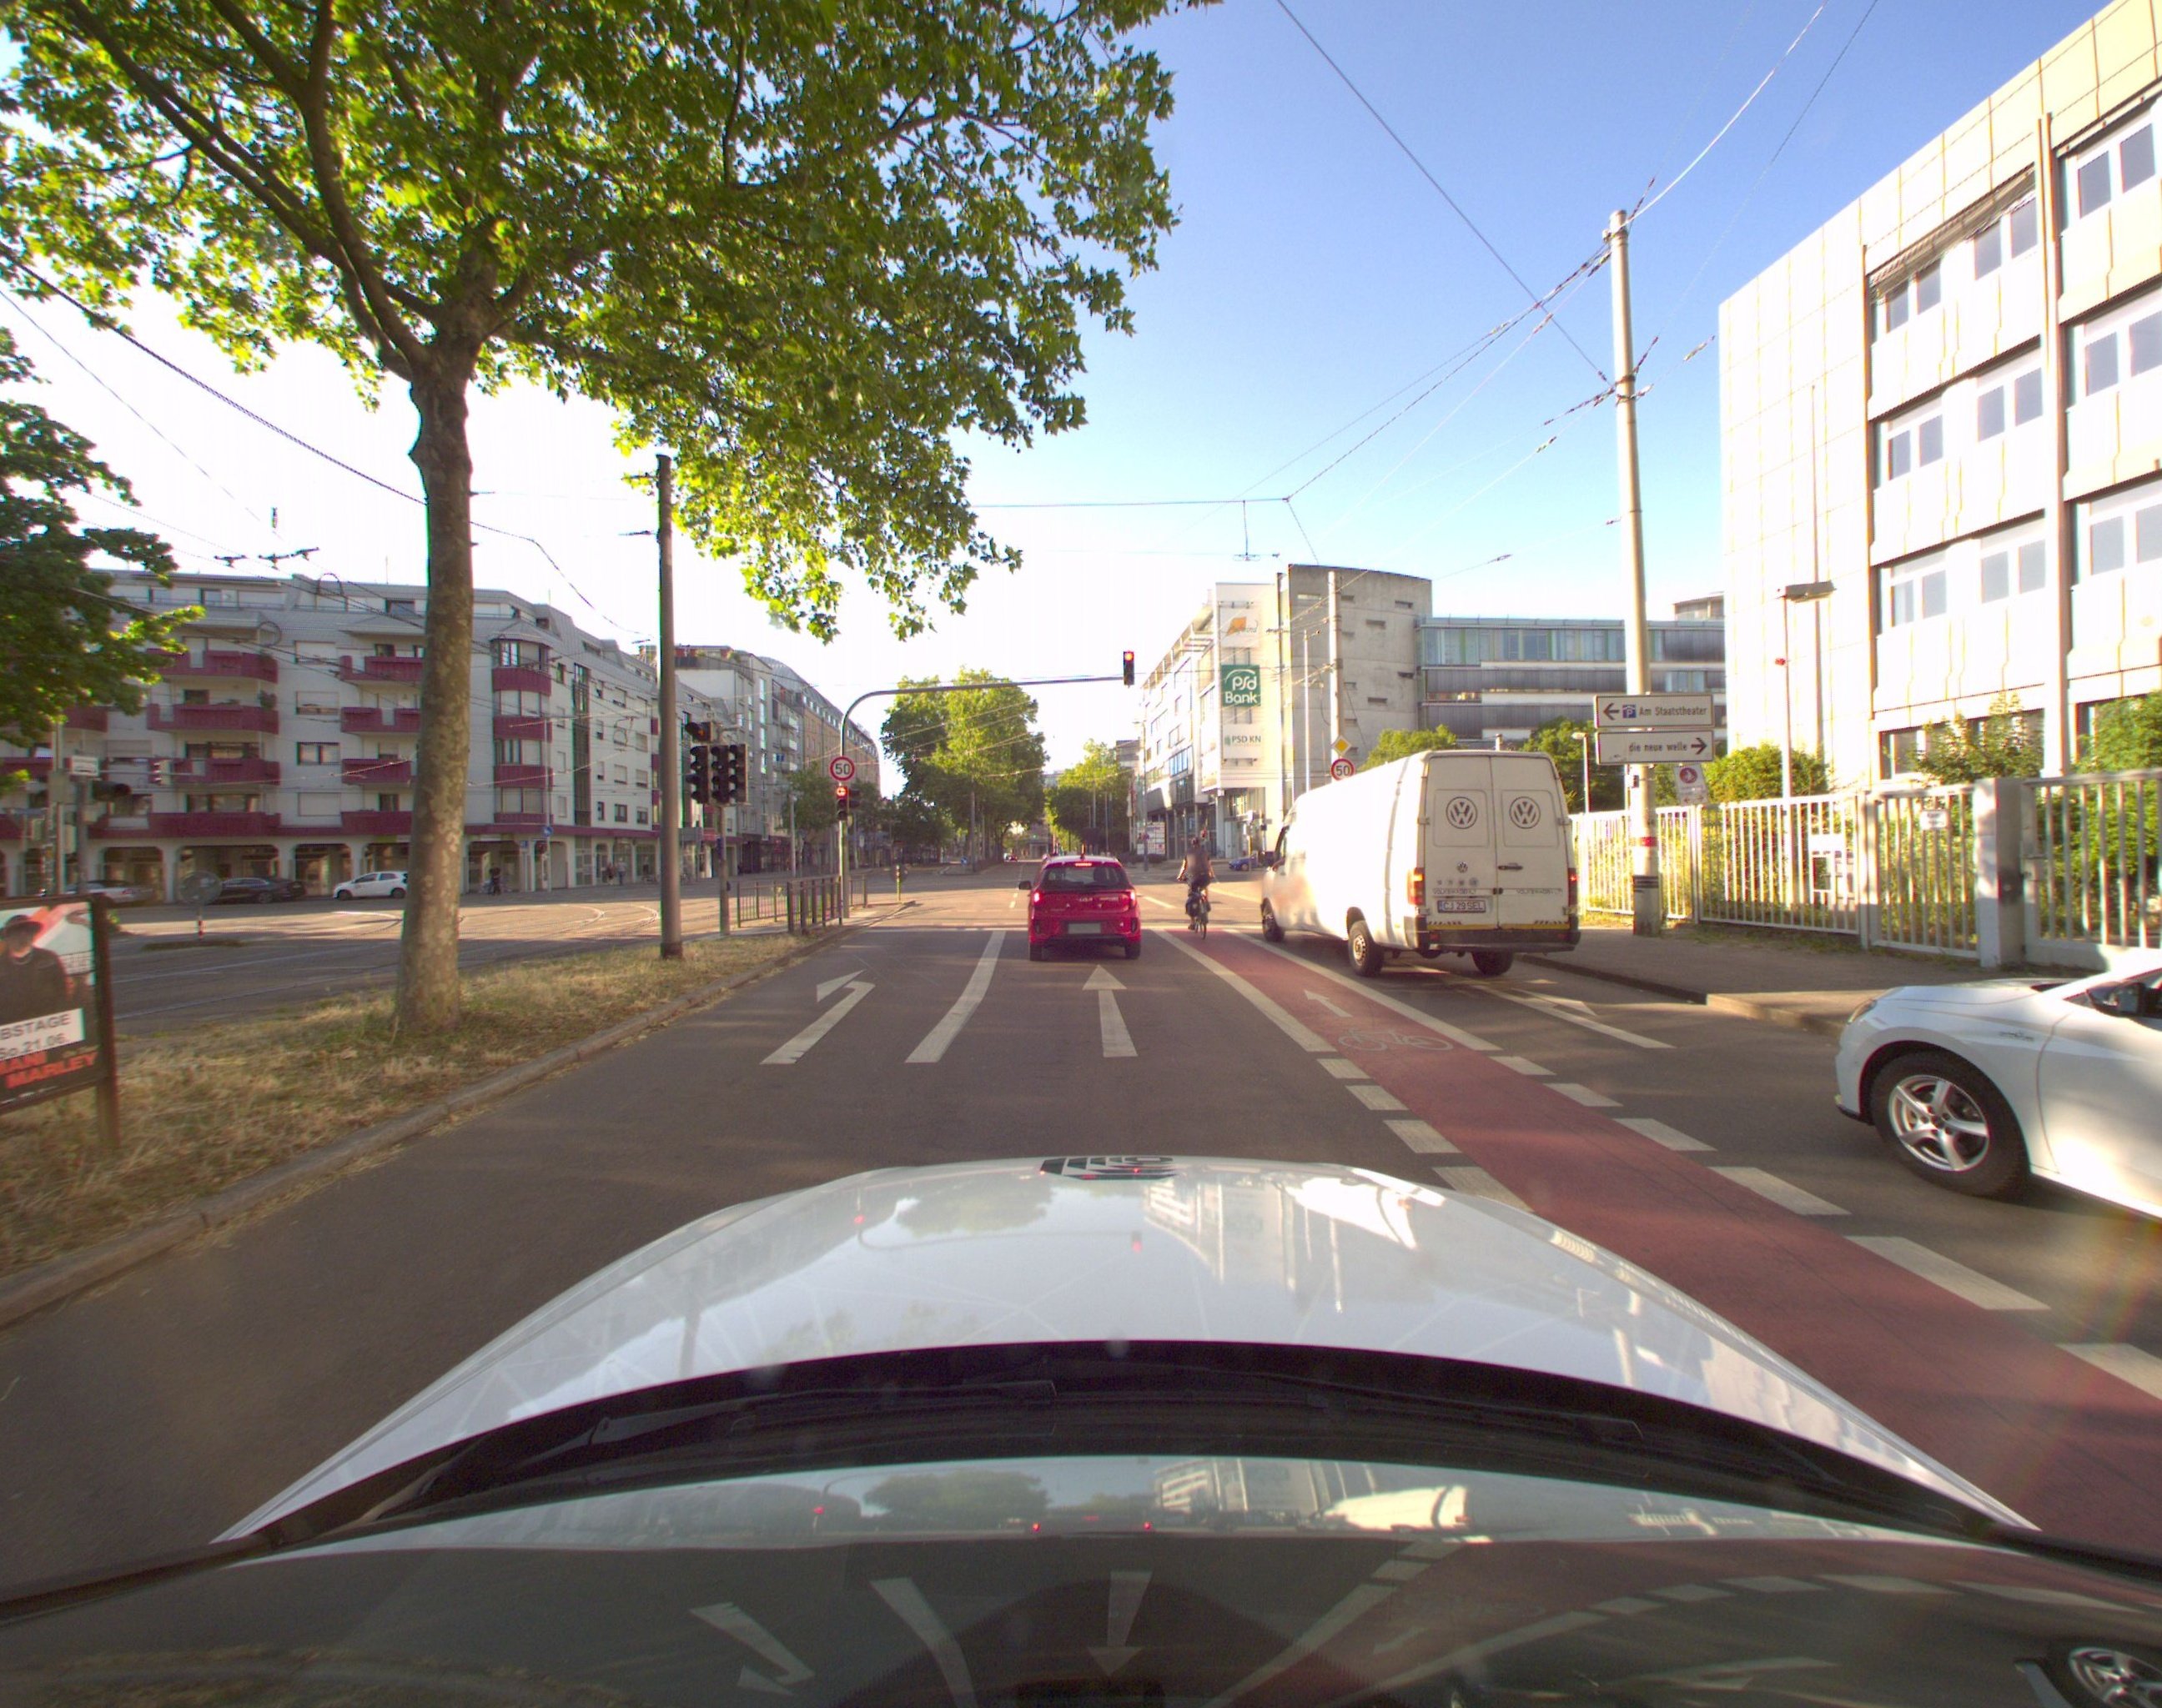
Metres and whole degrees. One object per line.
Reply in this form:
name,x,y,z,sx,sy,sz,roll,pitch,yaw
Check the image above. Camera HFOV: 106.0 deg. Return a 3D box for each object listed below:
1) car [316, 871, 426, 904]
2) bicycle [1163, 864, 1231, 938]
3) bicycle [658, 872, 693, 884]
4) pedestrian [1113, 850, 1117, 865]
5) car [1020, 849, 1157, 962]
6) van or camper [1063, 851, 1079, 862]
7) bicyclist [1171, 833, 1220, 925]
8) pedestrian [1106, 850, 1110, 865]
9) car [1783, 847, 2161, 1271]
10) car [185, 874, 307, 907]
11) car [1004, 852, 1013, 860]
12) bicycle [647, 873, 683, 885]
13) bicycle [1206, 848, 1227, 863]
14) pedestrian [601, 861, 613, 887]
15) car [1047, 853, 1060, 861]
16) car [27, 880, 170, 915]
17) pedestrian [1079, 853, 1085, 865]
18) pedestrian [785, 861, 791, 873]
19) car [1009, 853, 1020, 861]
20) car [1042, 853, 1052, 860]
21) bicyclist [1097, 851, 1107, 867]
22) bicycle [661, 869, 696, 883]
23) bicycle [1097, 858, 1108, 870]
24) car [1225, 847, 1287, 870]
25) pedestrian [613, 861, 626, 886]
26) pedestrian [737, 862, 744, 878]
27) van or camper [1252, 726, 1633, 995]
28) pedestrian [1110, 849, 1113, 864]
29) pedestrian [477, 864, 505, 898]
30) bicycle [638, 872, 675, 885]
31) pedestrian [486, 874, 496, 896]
car,-38.076,1.769,43.797,3.996,1.464,1.792,-2,0,-17
bicycle,2.111,0.824,15.094,0.743,1.224,2.151,0,1,-6
bicycle,-29.003,1.714,58.229,2.168,0.824,0.526,-2,0,-8
pedestrian,3.569,0.391,84.716,0.292,1.562,0.315,-2,0,12
car,-0.020,0.697,12.998,1.836,1.489,3.711,-2,0,-4
van or camper,-1.724,0.416,138.316,2.144,1.750,4.420,-2,0,-7
bicyclist,2.116,0.446,15.080,0.742,1.669,0.743,0,0,-6
pedestrian,2.812,0.399,84.411,0.294,1.562,0.301,-2,0,-8
car,4.738,0.729,2.491,1.796,1.501,3.982,-1,0,1
car,-43.225,1.874,42.267,3.997,1.464,1.791,-2,0,-17
car,-20.023,0.511,223.871,1.986,2.013,4.001,-2,0,1
bicycle,-29.038,1.753,56.865,2.168,0.787,0.490,-2,0,-8
bicycle,13.549,0.129,81.204,1.932,1.443,0.574,-2,0,-6
pedestrian,-31.699,1.307,54.454,0.510,1.699,0.527,-2,0,-7
car,-5.774,0.649,171.071,2.475,1.528,4.422,-2,0,-6
car,-49.212,2.162,40.875,4.265,1.464,1.793,-2,0,-15
pedestrian,0.091,0.703,121.961,0.743,1.716,0.745,-2,0,-12
pedestrian,-34.063,1.505,94.619,0.510,1.459,0.527,-2,0,-7
car,-14.789,0.674,181.644,2.057,1.653,3.481,-2,0,-9
car,-7.858,0.525,186.257,1.883,1.528,4.420,-2,0,-7
bicyclist,2.085,0.497,81.012,0.784,1.635,0.637,-2,0,-7
bicycle,-29.100,1.604,58.866,2.168,0.951,0.490,-2,0,-8
bicycle,2.103,0.994,80.893,0.791,1.161,2.494,-2,0,-6
car,13.334,0.342,62.293,4.254,1.568,1.845,-2,0,-6
pedestrian,-30.900,1.296,54.533,0.510,1.699,0.527,-2,0,-7
pedestrian,-33.034,1.560,78.913,0.511,1.459,0.525,-2,0,-14
van or camper,4.406,0.071,11.542,2.264,2.733,6.339,1,0,-3
pedestrian,3.155,0.301,84.770,0.293,1.562,0.355,-2,0,-2
pedestrian,-30.651,1.386,42.325,0.708,1.662,1.030,-2,0,-9
bicycle,-29.235,1.706,56.085,2.168,0.787,0.639,-2,0,-8
pedestrian,-33.338,1.762,46.024,0.303,1.214,0.317,-2,0,-10
